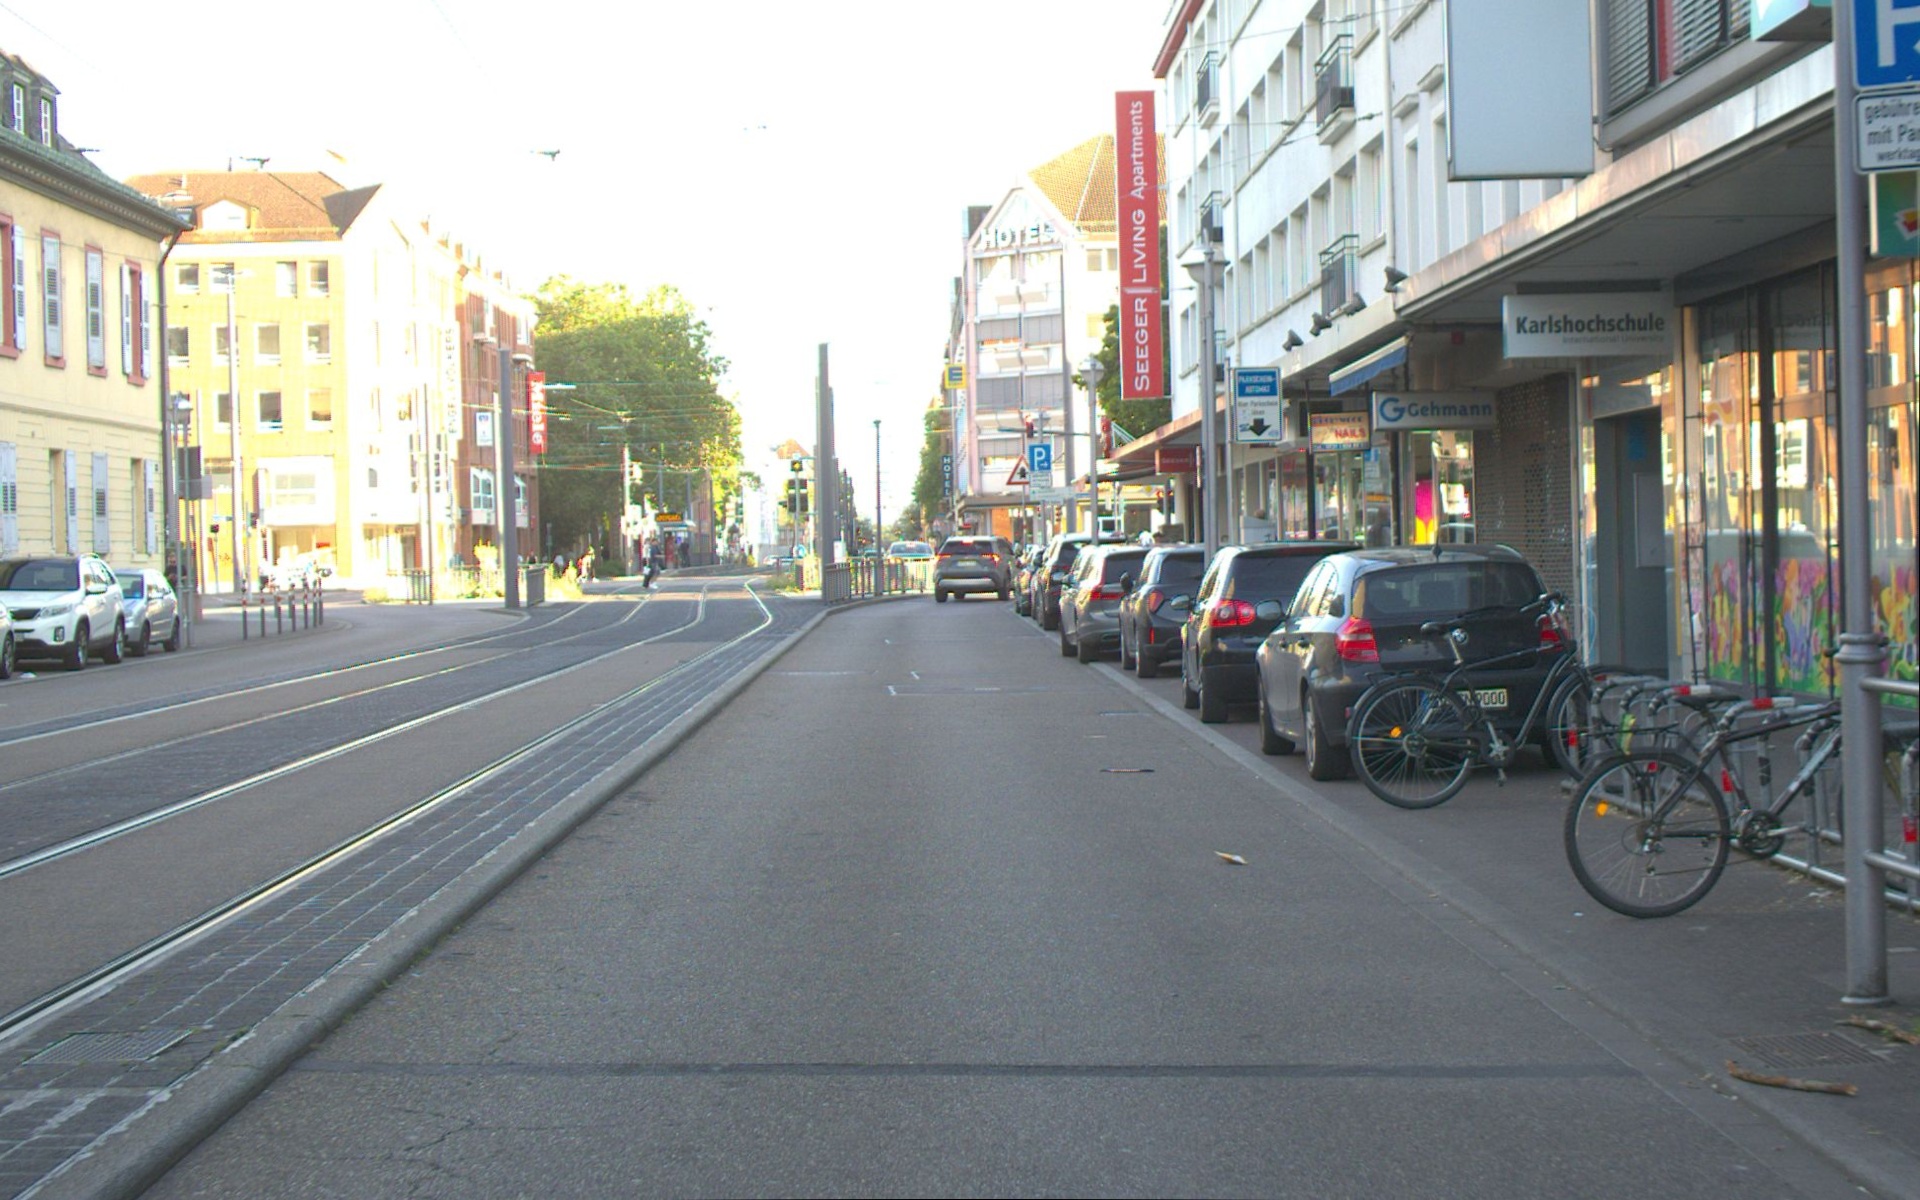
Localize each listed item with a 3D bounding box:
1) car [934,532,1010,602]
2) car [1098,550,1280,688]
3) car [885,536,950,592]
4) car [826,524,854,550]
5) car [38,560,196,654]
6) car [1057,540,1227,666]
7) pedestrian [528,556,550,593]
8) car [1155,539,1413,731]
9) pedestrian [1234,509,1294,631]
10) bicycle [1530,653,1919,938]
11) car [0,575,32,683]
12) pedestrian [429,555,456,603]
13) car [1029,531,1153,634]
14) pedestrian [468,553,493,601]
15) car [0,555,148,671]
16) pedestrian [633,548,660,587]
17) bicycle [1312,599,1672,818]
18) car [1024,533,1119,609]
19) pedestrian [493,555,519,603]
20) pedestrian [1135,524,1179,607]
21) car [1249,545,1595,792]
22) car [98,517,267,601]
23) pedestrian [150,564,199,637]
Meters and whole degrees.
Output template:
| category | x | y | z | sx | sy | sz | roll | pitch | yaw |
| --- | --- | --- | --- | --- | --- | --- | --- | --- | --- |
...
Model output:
| category | x | y | z | sx | sy | sz | roll | pitch | yaw |
| --- | --- | --- | --- | --- | --- | --- | --- | --- | --- |
| car | 0.310 | -0.822 | 88.149 | 1.835 | 1.630 | 4.090 | -2 | -1 | 0 |
| car | 2.549 | 0.190 | 39.054 | 1.726 | 1.476 | 4.000 | 1 | 0 | -1 |
| car | -1.420 | -1.186 | 114.767 | 1.993 | 1.590 | 4.000 | -5 | -1 | -1 |
| car | -9.113 | -4.778 | 261.887 | 1.993 | 1.894 | 4.000 | 1 | 0 | 0 |
| car | -14.220 | 0.097 | 58.198 | 1.748 | 1.469 | 4.000 | 1 | 1 | -1 |
| car | 2.305 | 0.019 | 44.638 | 1.791 | 1.528 | 4.857 | 1 | 0 | -2 |
| pedestrian | -23.134 | -1.383 | 188.812 | 1.093 | 2.007 | 1.163 | 1 | 0 | -3 |
| car | 2.710 | 0.265 | 29.525 | 1.765 | 1.508 | 4.072 | 1 | 0 | -1 |
| pedestrian | 4.738 | -0.471 | 53.582 | 0.774 | 1.874 | 0.935 | -2 | 0 | -2 |
| bicycle | 3.183 | 0.736 | 13.308 | 1.794 | 0.969 | 0.576 | -3 | 1 | -3 |
| car | -13.945 | 0.401 | 46.499 | 1.721 | 1.448 | 4.284 | 1 | 1 | -1 |
| pedestrian | -14.923 | -0.607 | 99.168 | 0.663 | 1.370 | 0.652 | -1 | 1 | -3 |
| car | 2.230 | -0.304 | 59.583 | 1.856 | 1.695 | 4.418 | 1 | 0 | -1 |
| pedestrian | -13.863 | -0.660 | 99.377 | 0.663 | 1.370 | 0.652 | 0 | 1 | -3 |
| car | -13.792 | 0.156 | 52.412 | 1.886 | 1.655 | 4.762 | 1 | 1 | -3 |
| pedestrian | -11.052 | -1.146 | 121.206 | 0.903 | 1.370 | 0.854 | -1 | 1 | -3 |
| bicycle | 2.942 | 0.594 | 19.103 | 1.839 | 1.106 | 0.642 | -3 | 0 | -4 |
| car | 2.140 | -0.555 | 66.896 | 1.651 | 1.416 | 4.191 | 1 | 0 | -1 |
| pedestrian | -13.175 | -0.619 | 99.757 | 0.663 | 1.370 | 0.652 | -1 | 1 | -3 |
| pedestrian | 3.741 | -0.659 | 65.307 | 0.733 | 1.568 | 0.967 | -1 | 1 | -1 |
| car | 2.932 | 0.392 | 22.561 | 1.654 | 1.458 | 4.023 | 1 | 0 | -1 |
| car | -19.650 | -1.040 | 86.800 | 3.986 | 2.007 | 2.001 | -2 | 1 | -17 |
| pedestrian | -16.709 | 0.002 | 73.134 | 0.799 | 1.536 | 0.877 | 1 | 0 | 1 |
